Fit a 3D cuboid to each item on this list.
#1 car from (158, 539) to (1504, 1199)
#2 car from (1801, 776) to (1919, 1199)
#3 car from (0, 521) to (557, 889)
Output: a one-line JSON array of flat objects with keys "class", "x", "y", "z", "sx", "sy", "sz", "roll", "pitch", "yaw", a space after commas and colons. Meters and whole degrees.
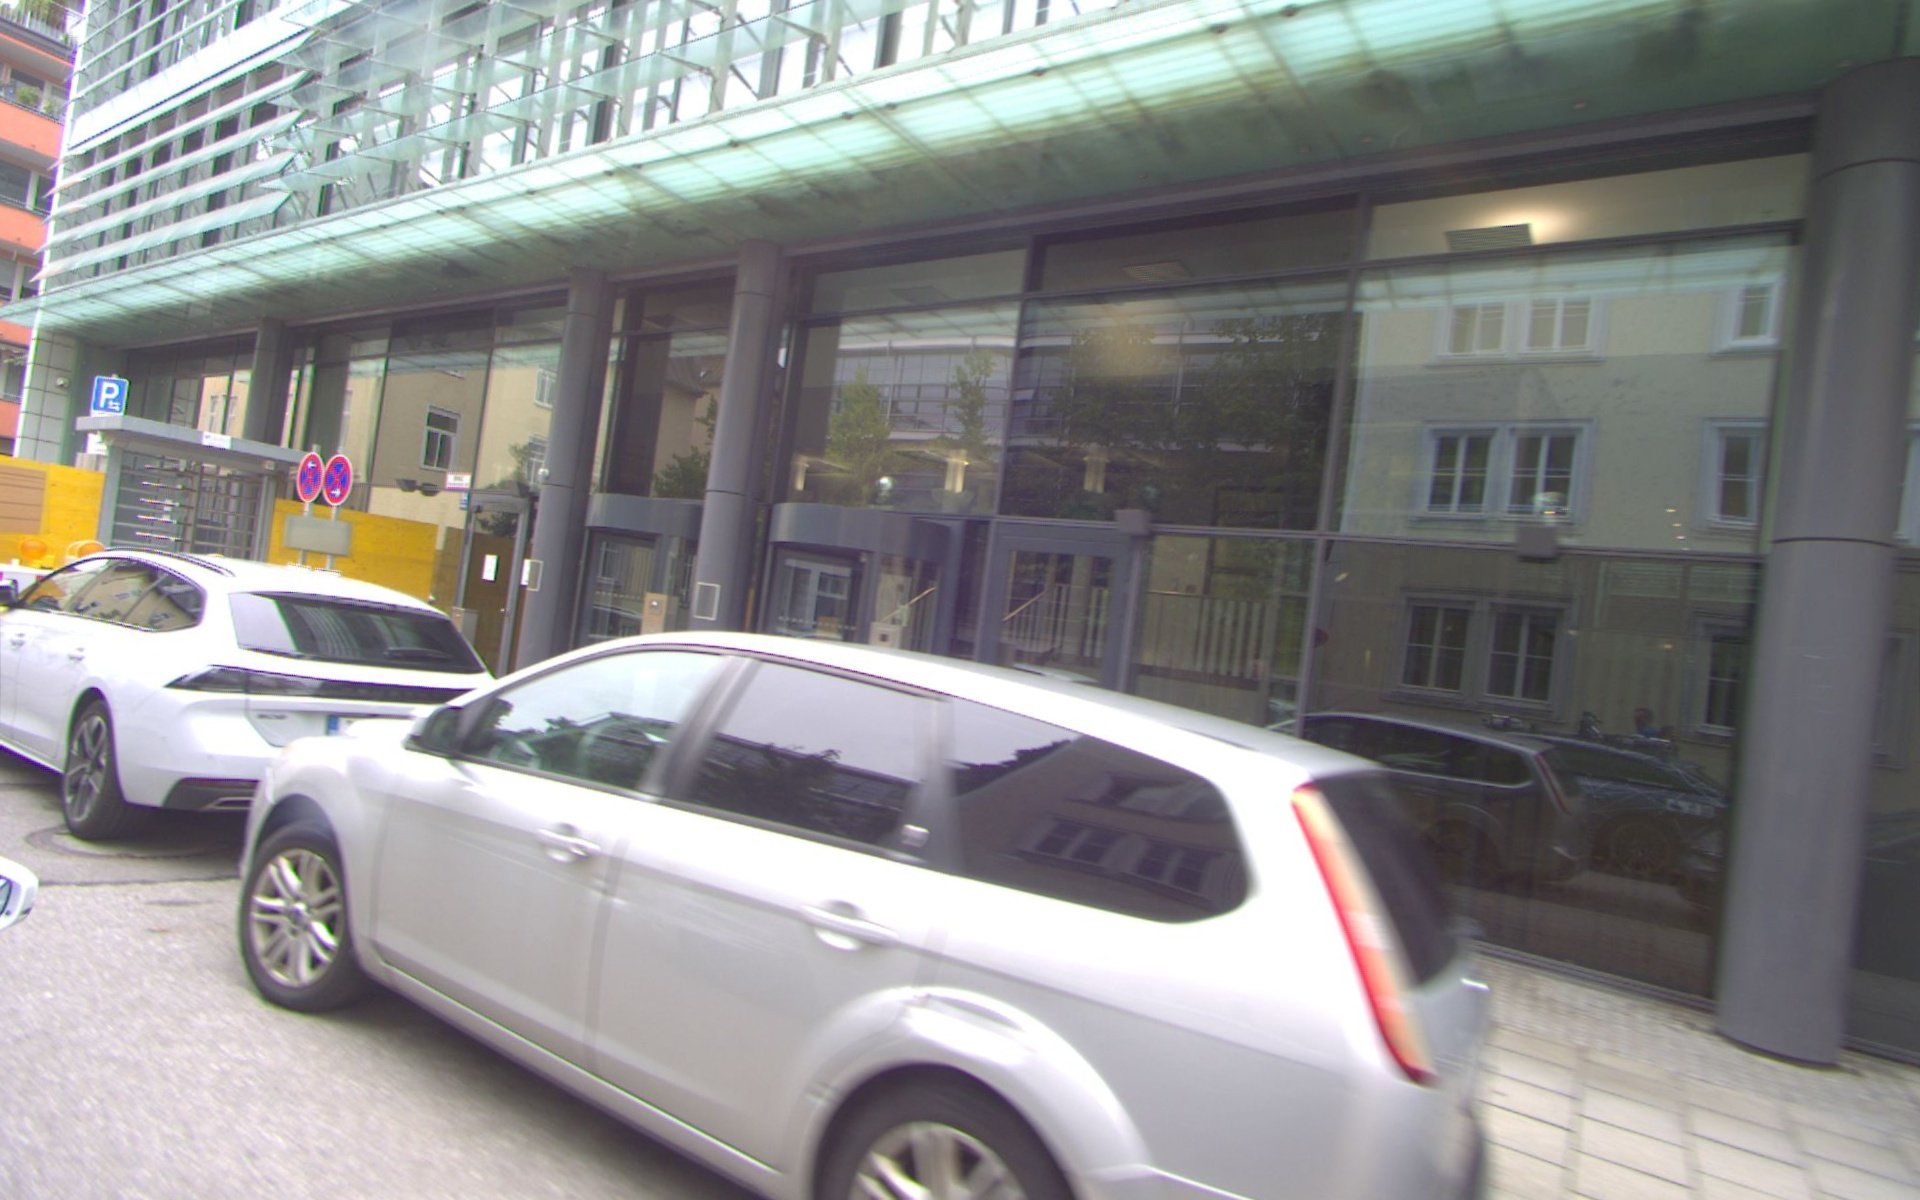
[{"class": "car", "x": -0.633, "y": 0.819, "z": 3.377, "sx": 4.166, "sy": 1.483, "sz": 1.713, "roll": 6, "pitch": -4, "yaw": 31}, {"class": "car", "x": 3.426, "y": 1.247, "z": 0.592, "sx": 4.260, "sy": 1.448, "sz": 1.711, "roll": 6, "pitch": -3, "yaw": 34}, {"class": "car", "x": -4.665, "y": 0.429, "z": 6.181, "sx": 4.437, "sy": 1.429, "sz": 1.712, "roll": 6, "pitch": -4, "yaw": 34}]
